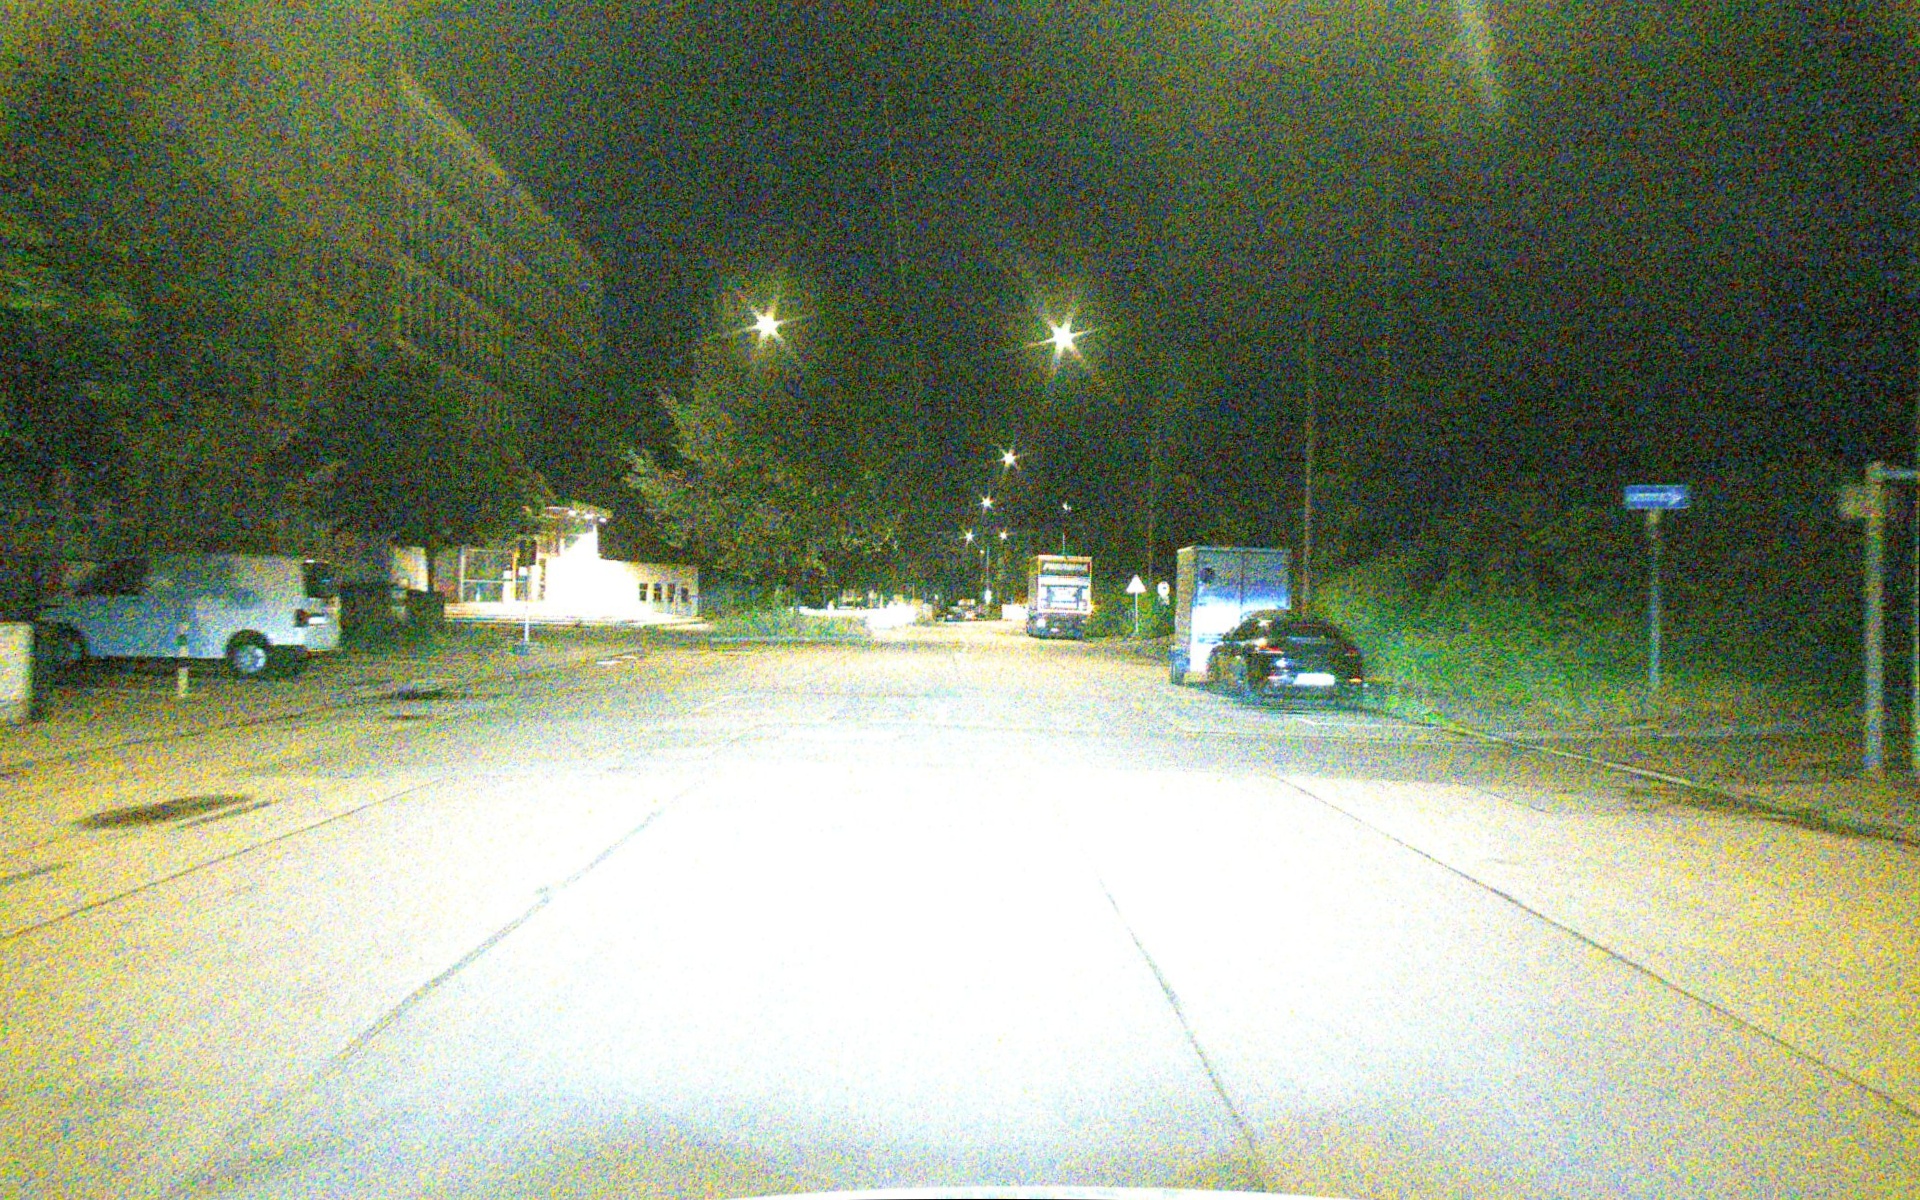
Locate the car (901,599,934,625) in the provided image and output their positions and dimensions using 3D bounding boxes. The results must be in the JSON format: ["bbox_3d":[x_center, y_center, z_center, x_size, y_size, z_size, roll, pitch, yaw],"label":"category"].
[{"bbox_3d":[-5.376,1.555,210.845,2.465,3.227,7.143,-1,-1,13],"label":"car"}]

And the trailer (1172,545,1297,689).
[{"bbox_3d":[5.495,0.314,33.589,1.952,2.697,4.001,2,0,2],"label":"trailer"}]

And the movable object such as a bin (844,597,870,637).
[{"bbox_3d":[-7.395,1.197,118.593,1.541,2.782,3.695,-2,1,-7],"label":"movable object such as a bin"}]

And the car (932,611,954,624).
[{"bbox_3d":[-2.309,2.386,227.009,1.951,1.729,4.209,1,-2,14],"label":"car"}]

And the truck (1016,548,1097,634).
[{"bbox_3d":[4.669,-0.402,81.995,3.256,3.936,9.326,2,-1,-1],"label":"truck"}]

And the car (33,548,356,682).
[{"bbox_3d":[-12.573,0.240,27.395,4.342,2.006,2.000,2,0,-1],"label":"car"}]

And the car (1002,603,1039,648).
[{"bbox_3d":[3.643,1.475,99.561,2.065,2.560,6.373,2,0,2],"label":"car"}]

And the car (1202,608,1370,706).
[{"bbox_3d":[5.337,0.888,27.649,1.692,1.411,4.674,2,0,-2],"label":"car"}]

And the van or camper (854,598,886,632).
[{"bbox_3d":[-8.446,1.439,156.058,2.467,3.148,7.445,-1,-1,1],"label":"van or camper"}]

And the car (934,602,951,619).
[{"bbox_3d":[-1.843,1.096,174.245,1.685,1.690,3.999,2,-2,0],"label":"car"}]

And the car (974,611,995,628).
[{"bbox_3d":[2.999,2.397,202.571,1.684,1.853,4.002,1,-2,15],"label":"car"}]

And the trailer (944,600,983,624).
[{"bbox_3d":[0.292,1.144,159.425,1.541,2.198,5.174,0,-1,-27],"label":"trailer"}]

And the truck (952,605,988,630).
[{"bbox_3d":[1.512,2.508,239.810,1.953,3.463,8.976,2,0,23],"label":"truck"}]

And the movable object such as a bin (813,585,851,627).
[{"bbox_3d":[-7.682,0.368,98.764,1.526,2.511,2.821,0,-1,-21],"label":"movable object such as a bin"}]
